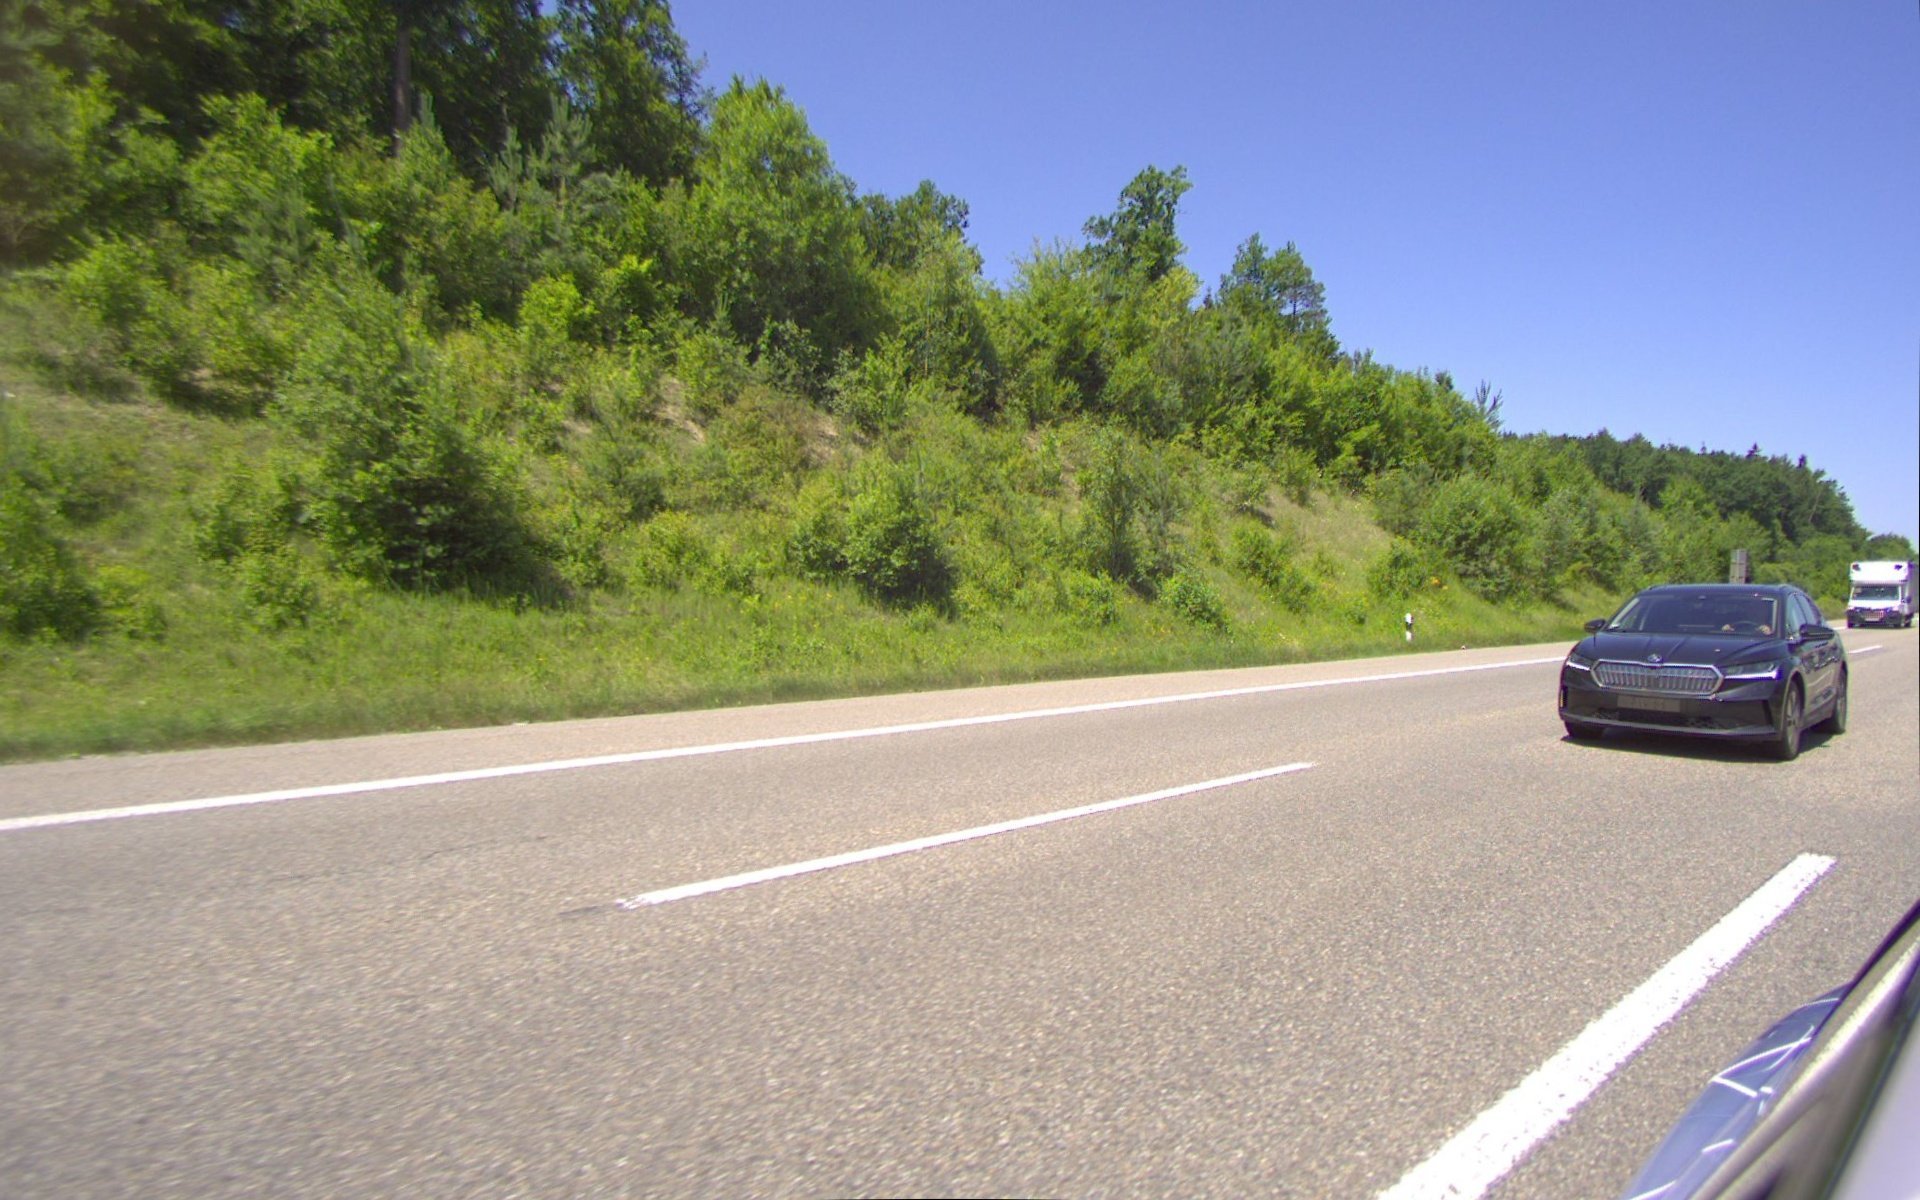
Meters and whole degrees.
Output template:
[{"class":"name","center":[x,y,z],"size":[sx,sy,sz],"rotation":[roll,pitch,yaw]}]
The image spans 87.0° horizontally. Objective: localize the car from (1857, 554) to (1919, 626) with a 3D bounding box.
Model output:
[{"class":"car","center":[46.935,-0.531,50.548],"size":[7.492,3.378,2.300],"rotation":[-1,1,-42]}]

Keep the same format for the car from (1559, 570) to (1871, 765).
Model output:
[{"class":"car","center":[8.164,0.519,10.782],"size":[4.384,1.639,1.986],"rotation":[-1,1,-44]}]
